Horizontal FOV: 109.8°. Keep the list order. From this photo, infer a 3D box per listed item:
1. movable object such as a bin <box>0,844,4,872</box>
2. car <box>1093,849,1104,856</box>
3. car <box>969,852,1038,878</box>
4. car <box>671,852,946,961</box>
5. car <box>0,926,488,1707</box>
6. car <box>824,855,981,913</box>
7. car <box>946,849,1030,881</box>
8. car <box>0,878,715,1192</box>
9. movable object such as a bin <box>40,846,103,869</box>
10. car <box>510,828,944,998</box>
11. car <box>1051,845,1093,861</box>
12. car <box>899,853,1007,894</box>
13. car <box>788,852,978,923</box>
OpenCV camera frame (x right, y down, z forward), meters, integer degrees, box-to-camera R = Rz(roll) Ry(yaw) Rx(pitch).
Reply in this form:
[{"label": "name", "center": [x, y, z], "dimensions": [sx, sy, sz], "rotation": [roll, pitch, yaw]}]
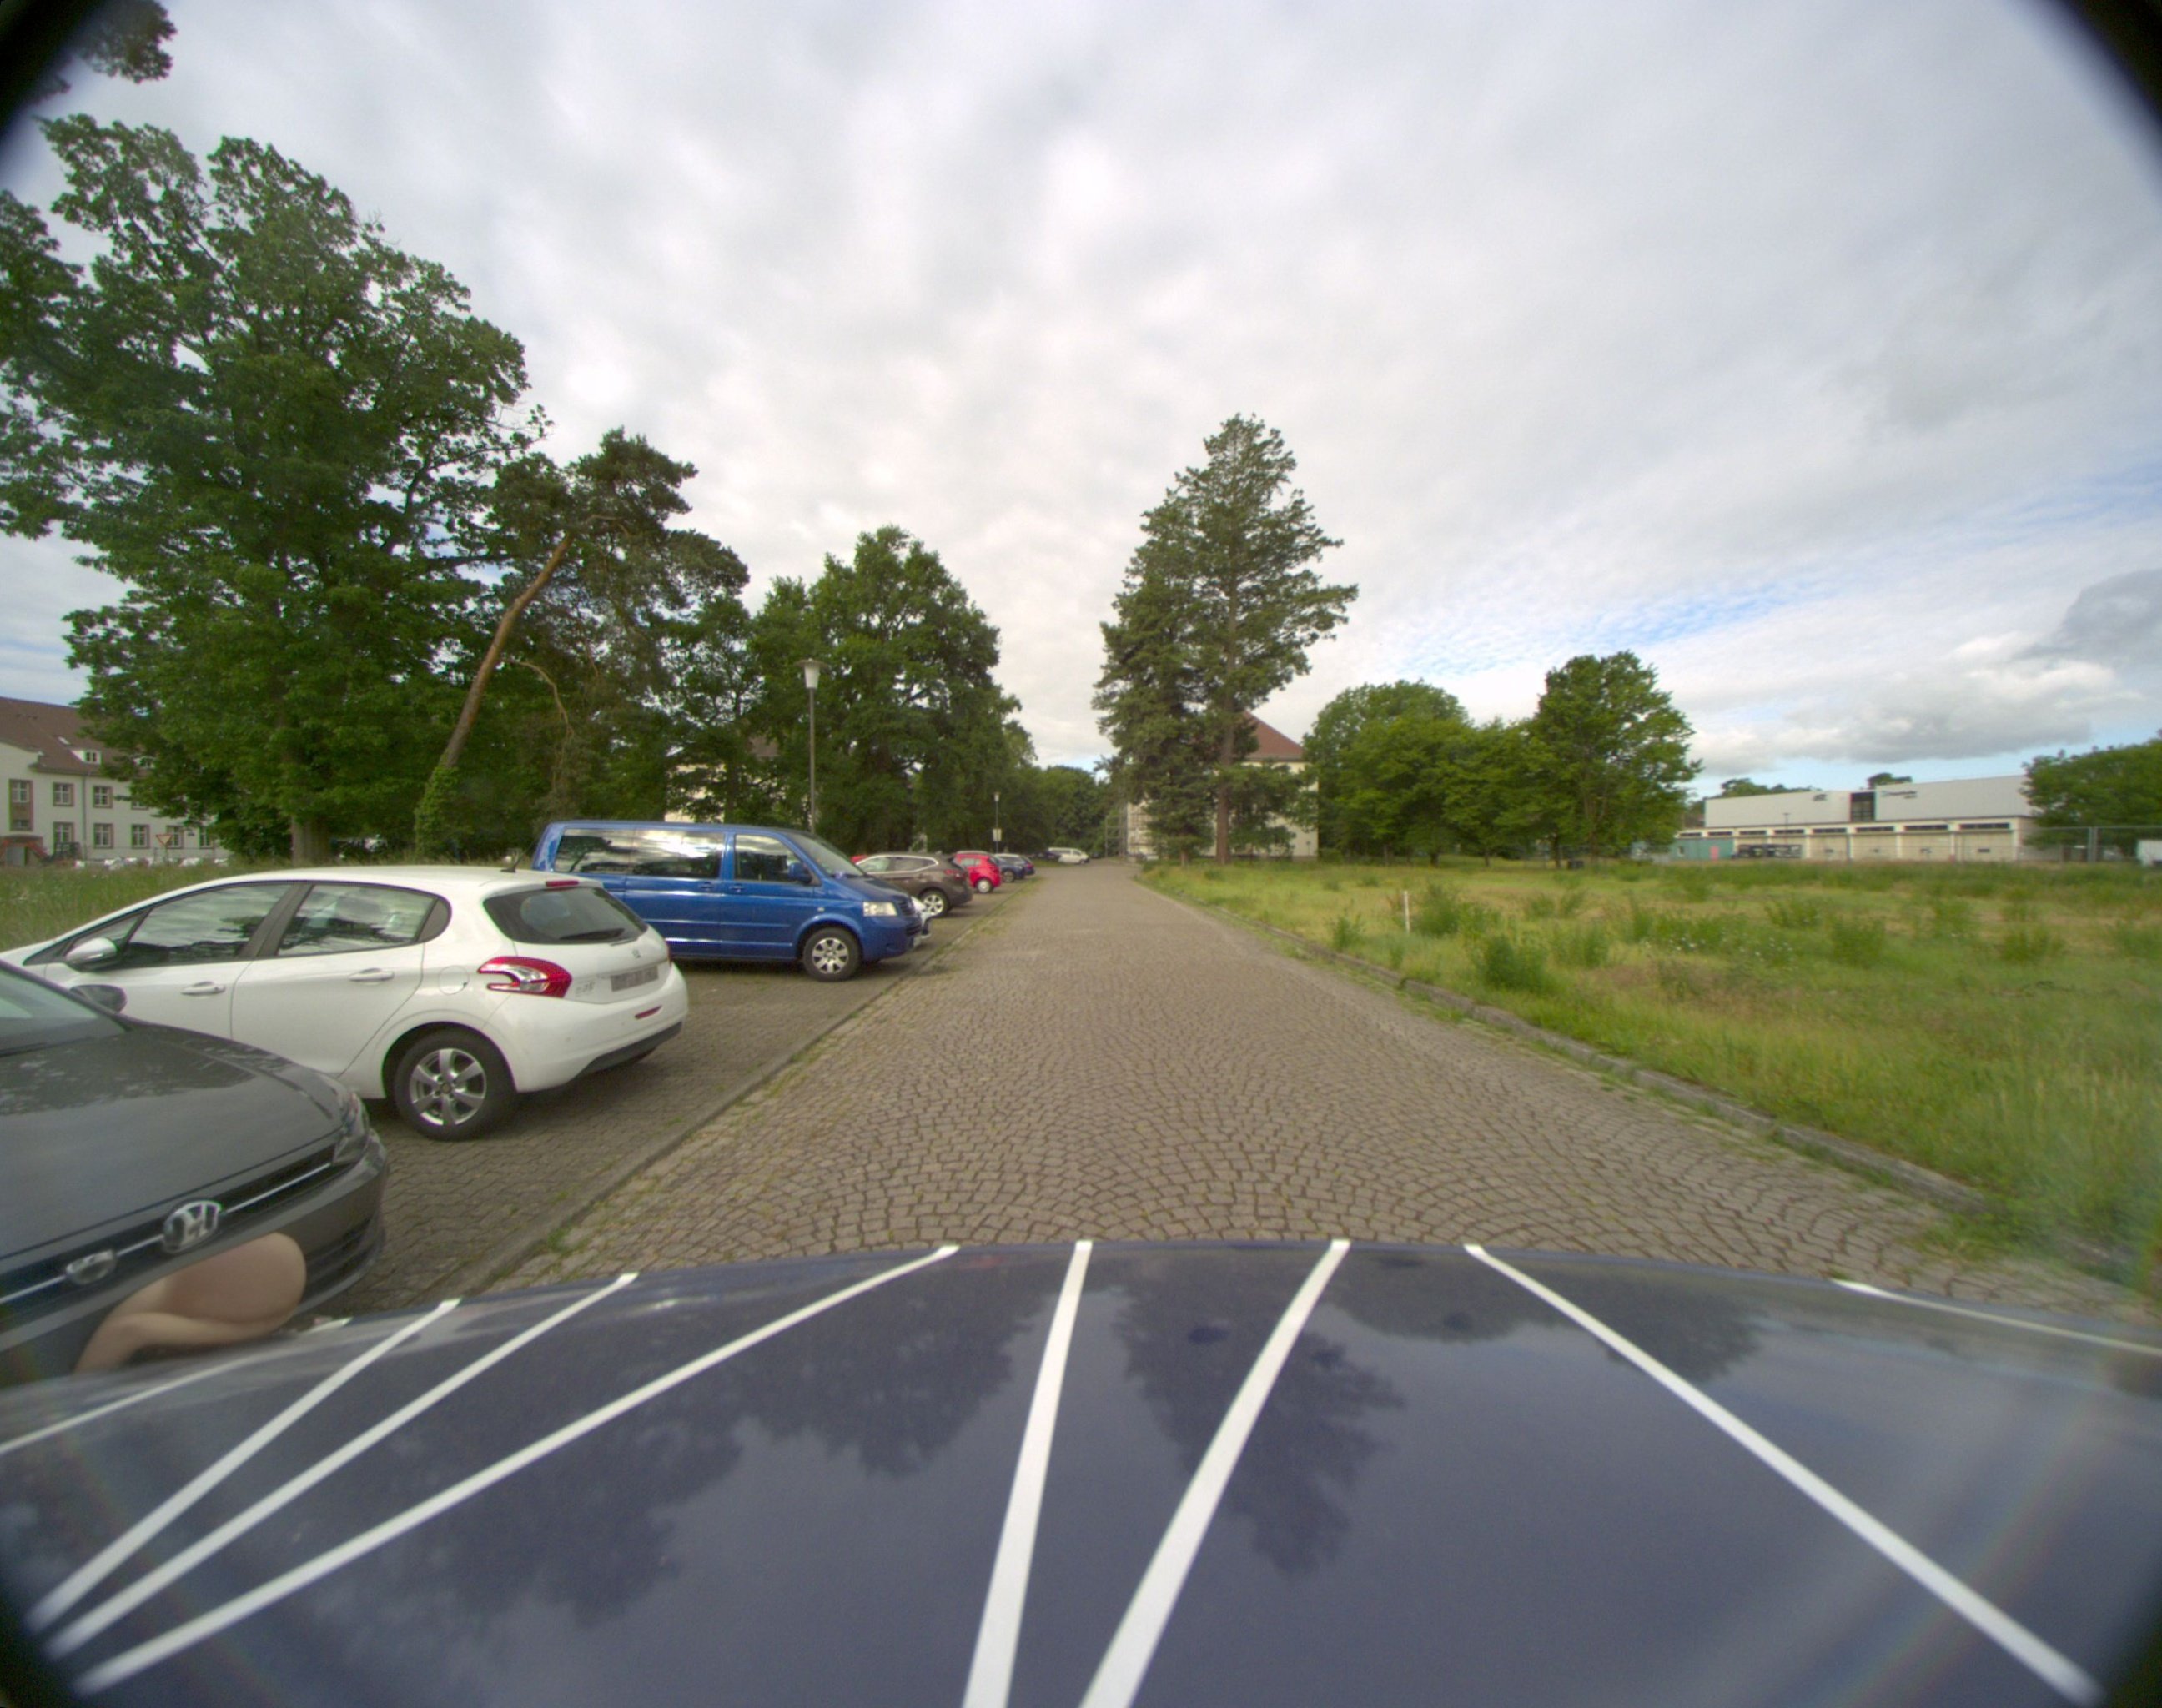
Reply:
[{"label": "movable object such as a bin", "center": [-77.993, 0.303, 52.753], "dimensions": [1.679, 2.002, 3.245], "rotation": [0, 1, 8]}, {"label": "car", "center": [3.595, -0.332, 159.991], "dimensions": [1.870, 1.408, 4.694], "rotation": [2, 0, -5]}, {"label": "car", "center": [-4.478, 0.631, 44.174], "dimensions": [3.878, 1.417, 1.582], "rotation": [1, 1, -2]}, {"label": "car", "center": [-4.392, 0.820, 12.728], "dimensions": [3.873, 1.463, 1.841], "rotation": [4, 1, -2]}, {"label": "car", "center": [-4.138, 0.996, 1.911], "dimensions": [3.872, 1.463, 1.758], "rotation": [2, 1, -1]}, {"label": "car", "center": [-5.013, 0.821, 21.721], "dimensions": [4.016, 1.477, 1.765], "rotation": [1, 1, 0]}, {"label": "car", "center": [-4.798, 0.563, 39.510], "dimensions": [4.150, 1.529, 1.582], "rotation": [1, 1, -2]}, {"label": "car", "center": [-4.719, 0.974, 4.854], "dimensions": [3.872, 1.463, 1.758], "rotation": [2, 1, 1]}, {"label": "movable object such as a bin", "center": [-90.591, 0.313, 68.223], "dimensions": [1.553, 2.002, 2.984], "rotation": [0, 1, 0]}, {"label": "car", "center": [-4.426, 0.717, 10.163], "dimensions": [4.820, 1.934, 2.002], "rotation": [2, 1, -2]}, {"label": "car", "center": [-1.106, -0.143, 92.995], "dimensions": [5.141, 1.860, 1.723], "rotation": [1, 1, -2]}, {"label": "car", "center": [-4.885, 0.718, 29.270], "dimensions": [3.895, 1.451, 1.582], "rotation": [1, 1, -2]}, {"label": "car", "center": [-4.825, 0.800, 18.995], "dimensions": [4.271, 1.589, 1.821], "rotation": [1, 1, -2]}]
